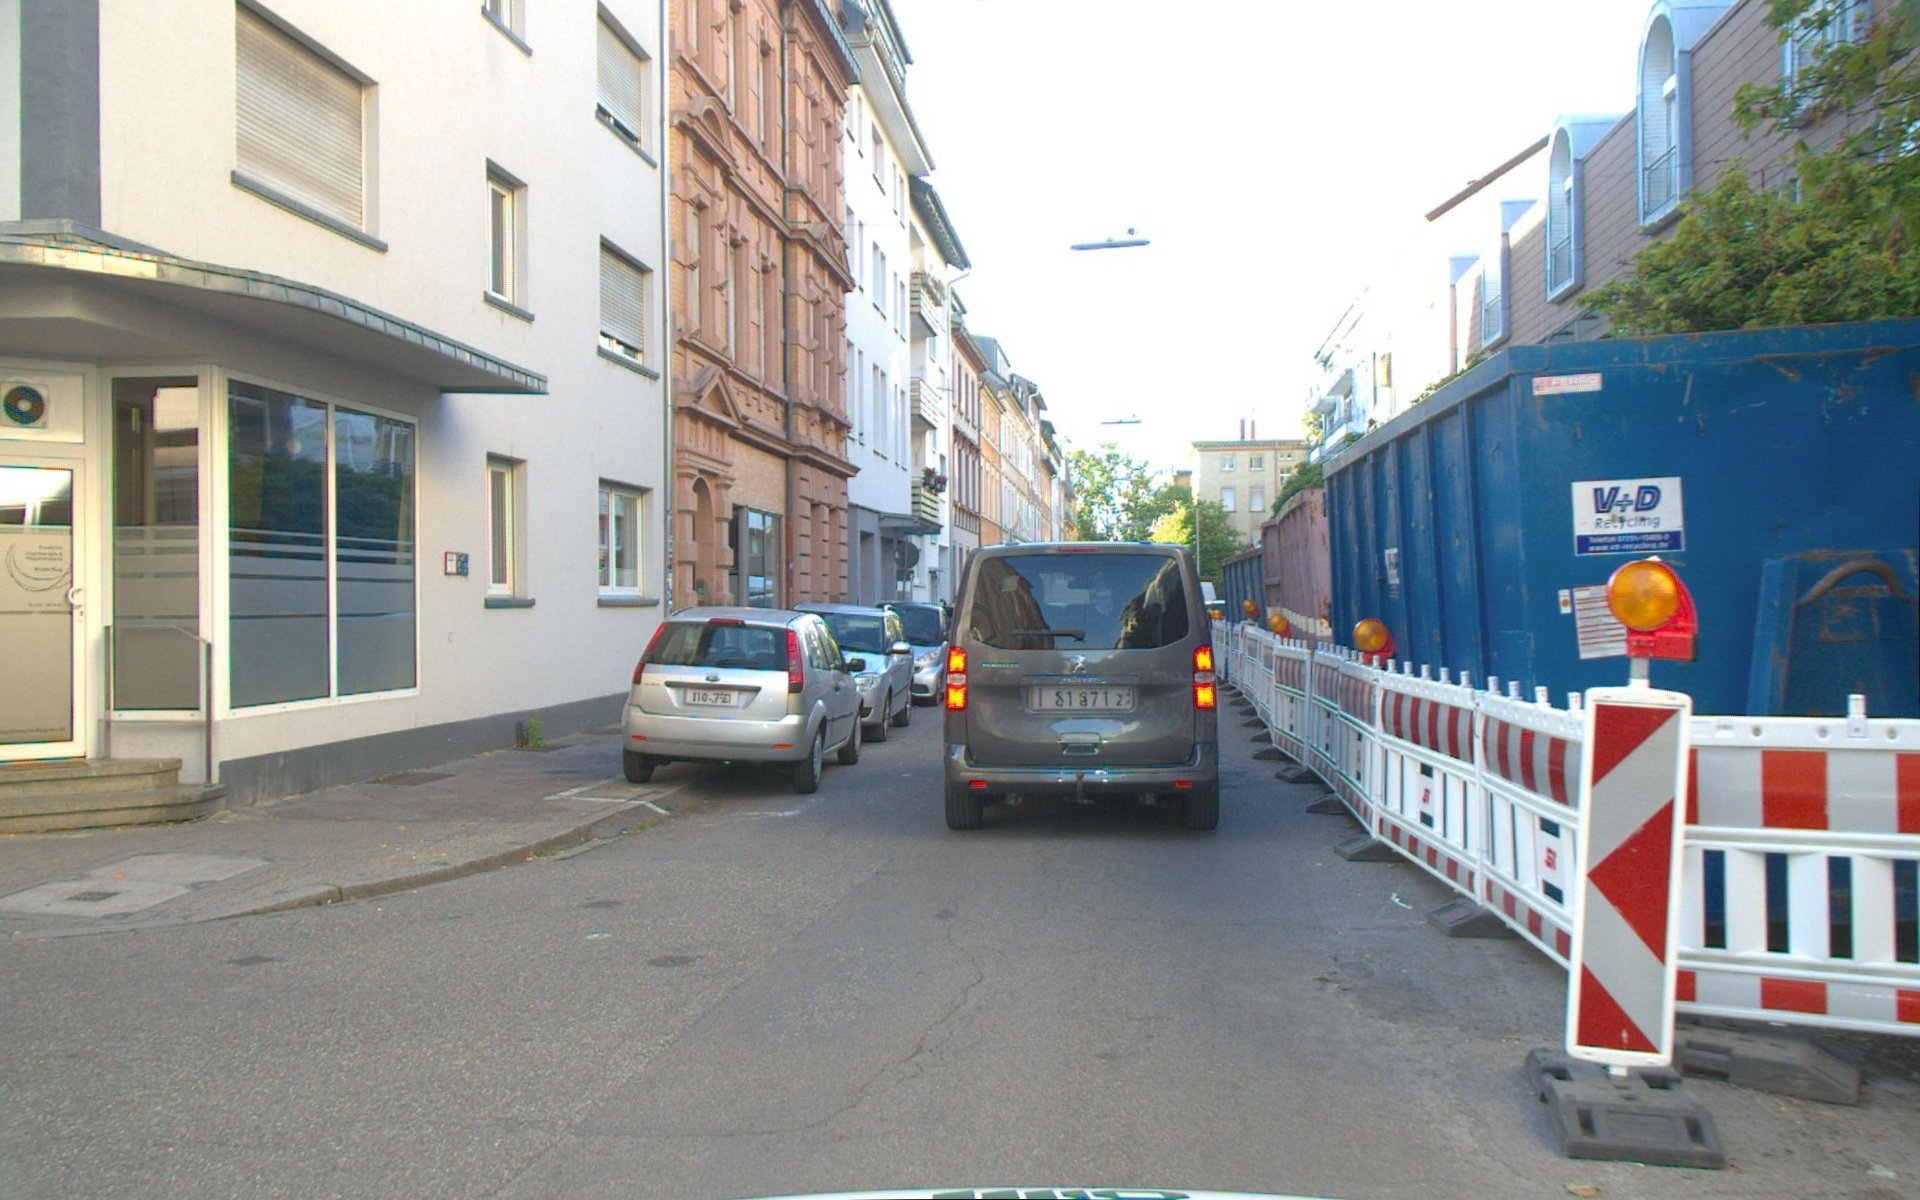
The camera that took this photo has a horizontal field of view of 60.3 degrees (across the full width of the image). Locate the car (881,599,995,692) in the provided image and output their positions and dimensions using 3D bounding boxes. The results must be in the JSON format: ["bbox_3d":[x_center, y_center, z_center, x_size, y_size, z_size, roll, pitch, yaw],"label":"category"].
[{"bbox_3d":[-0.348,0.791,30.848,1.703,1.627,4.017,0,0,5],"label":"car"}]

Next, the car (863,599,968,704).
[{"bbox_3d":[-0.680,0.800,26.975,1.366,1.616,2.796,0,0,6],"label":"car"}]

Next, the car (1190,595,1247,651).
[{"bbox_3d":[8.194,0.693,52.592,1.711,1.713,4.529,0,0,8],"label":"car"}]

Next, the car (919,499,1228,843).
[{"bbox_3d":[0.883,0.439,12.211,1.818,2.049,4.003,-2,0,5],"label":"car"}]

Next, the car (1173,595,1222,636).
[{"bbox_3d":[9.983,0.639,69.751,1.686,1.640,4.590,-1,0,4],"label":"car"}]

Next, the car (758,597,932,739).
[{"bbox_3d":[-1.321,0.754,20.322,1.522,1.535,3.600,2,0,5],"label":"car"}]

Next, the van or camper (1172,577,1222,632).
[{"bbox_3d":[12.205,0.210,85.577,2.055,2.647,7.516,-2,0,5],"label":"van or camper"}]

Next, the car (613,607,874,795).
[{"bbox_3d":[-1.797,0.799,14.773,1.598,1.455,3.557,0,0,5],"label":"car"}]

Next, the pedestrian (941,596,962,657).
[{"bbox_3d":[-0.225,0.731,45.819,0.484,1.667,0.666,1,0,6],"label":"pedestrian"}]

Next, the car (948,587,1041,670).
[{"bbox_3d":[0.885,0.639,39.939,1.951,1.891,4.587,0,0,5],"label":"car"}]
